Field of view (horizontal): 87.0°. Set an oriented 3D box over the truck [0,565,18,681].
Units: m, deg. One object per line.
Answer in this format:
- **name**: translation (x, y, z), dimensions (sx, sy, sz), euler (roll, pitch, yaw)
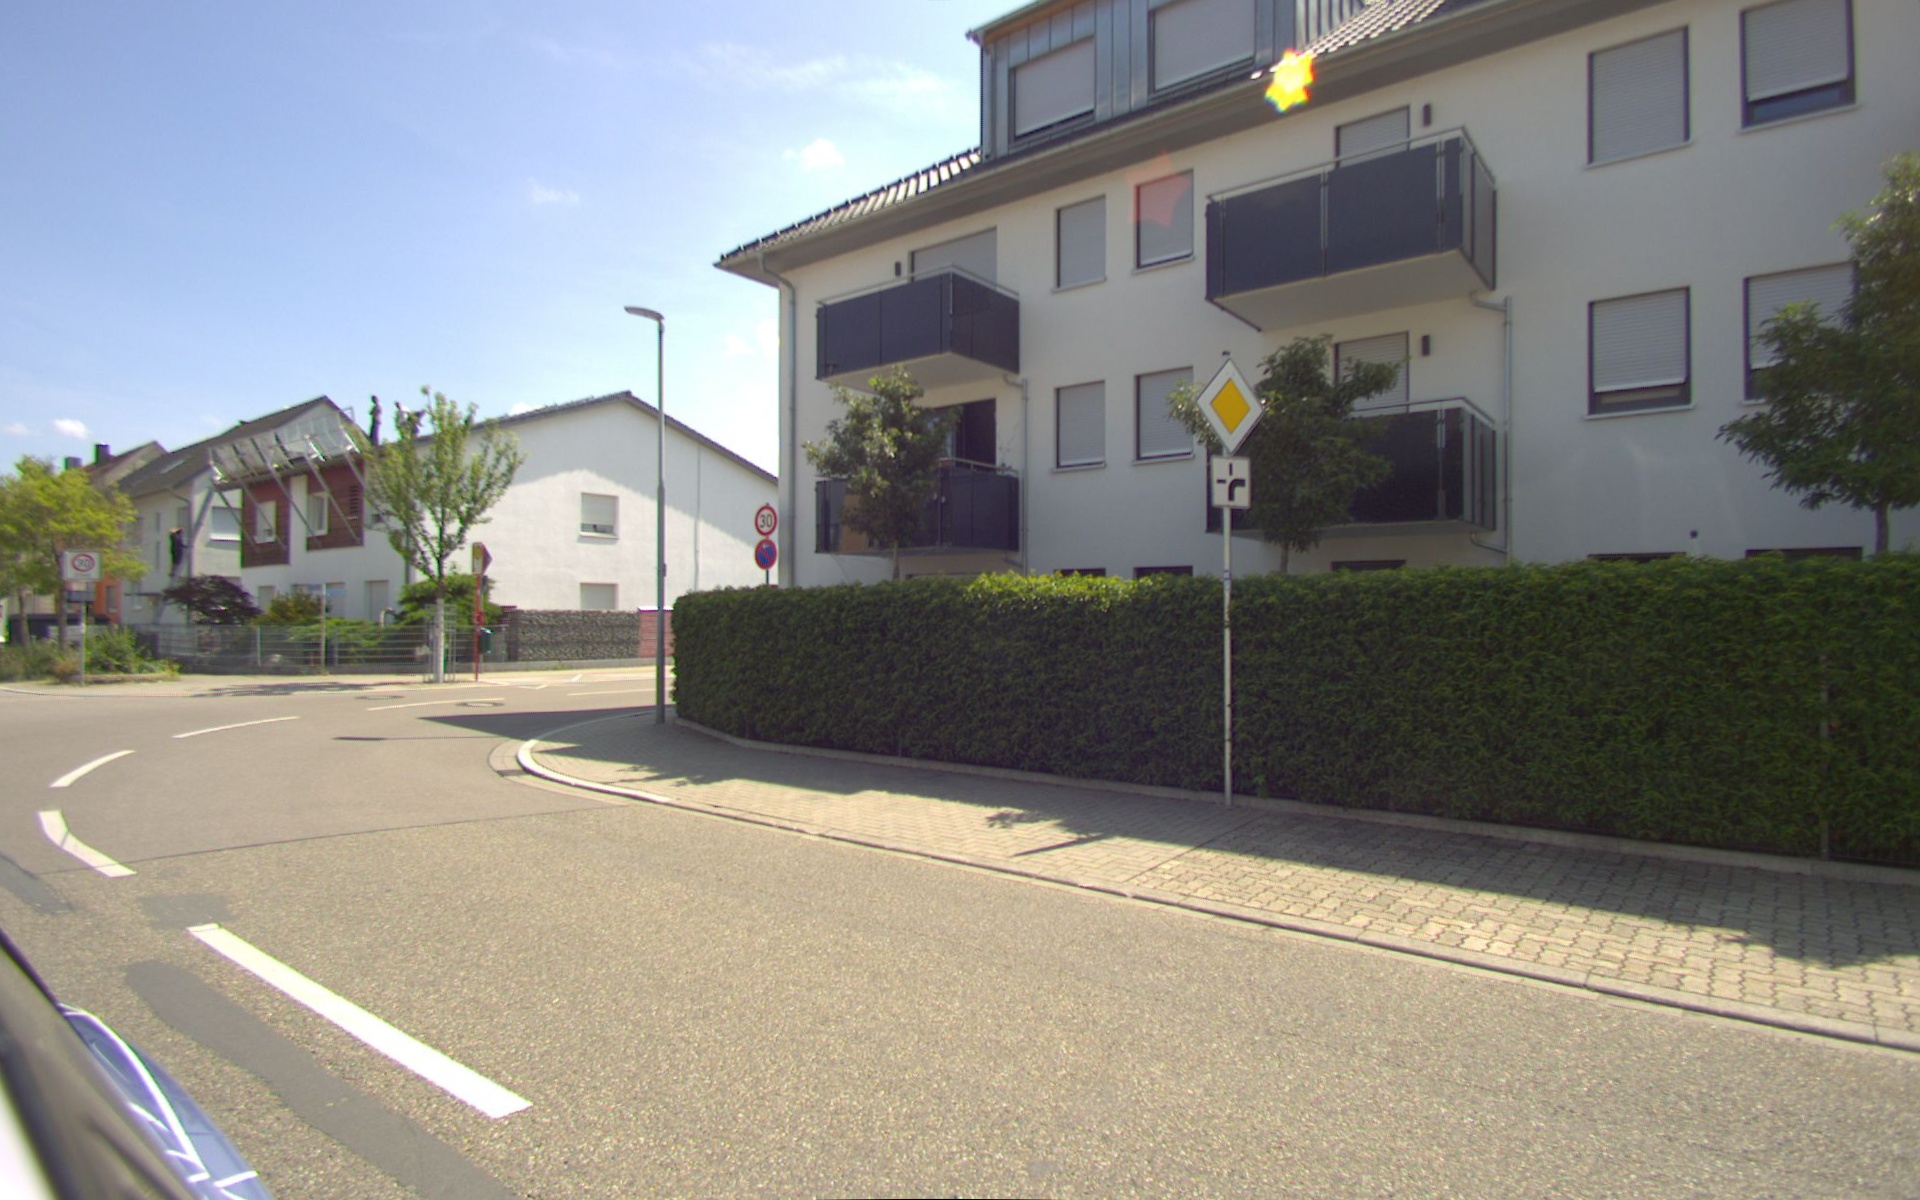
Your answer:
- **truck**: translation (-30.606, 0.630, 30.009), dimensions (7.023, 3.271, 2.415), euler (-1, -5, 36)
